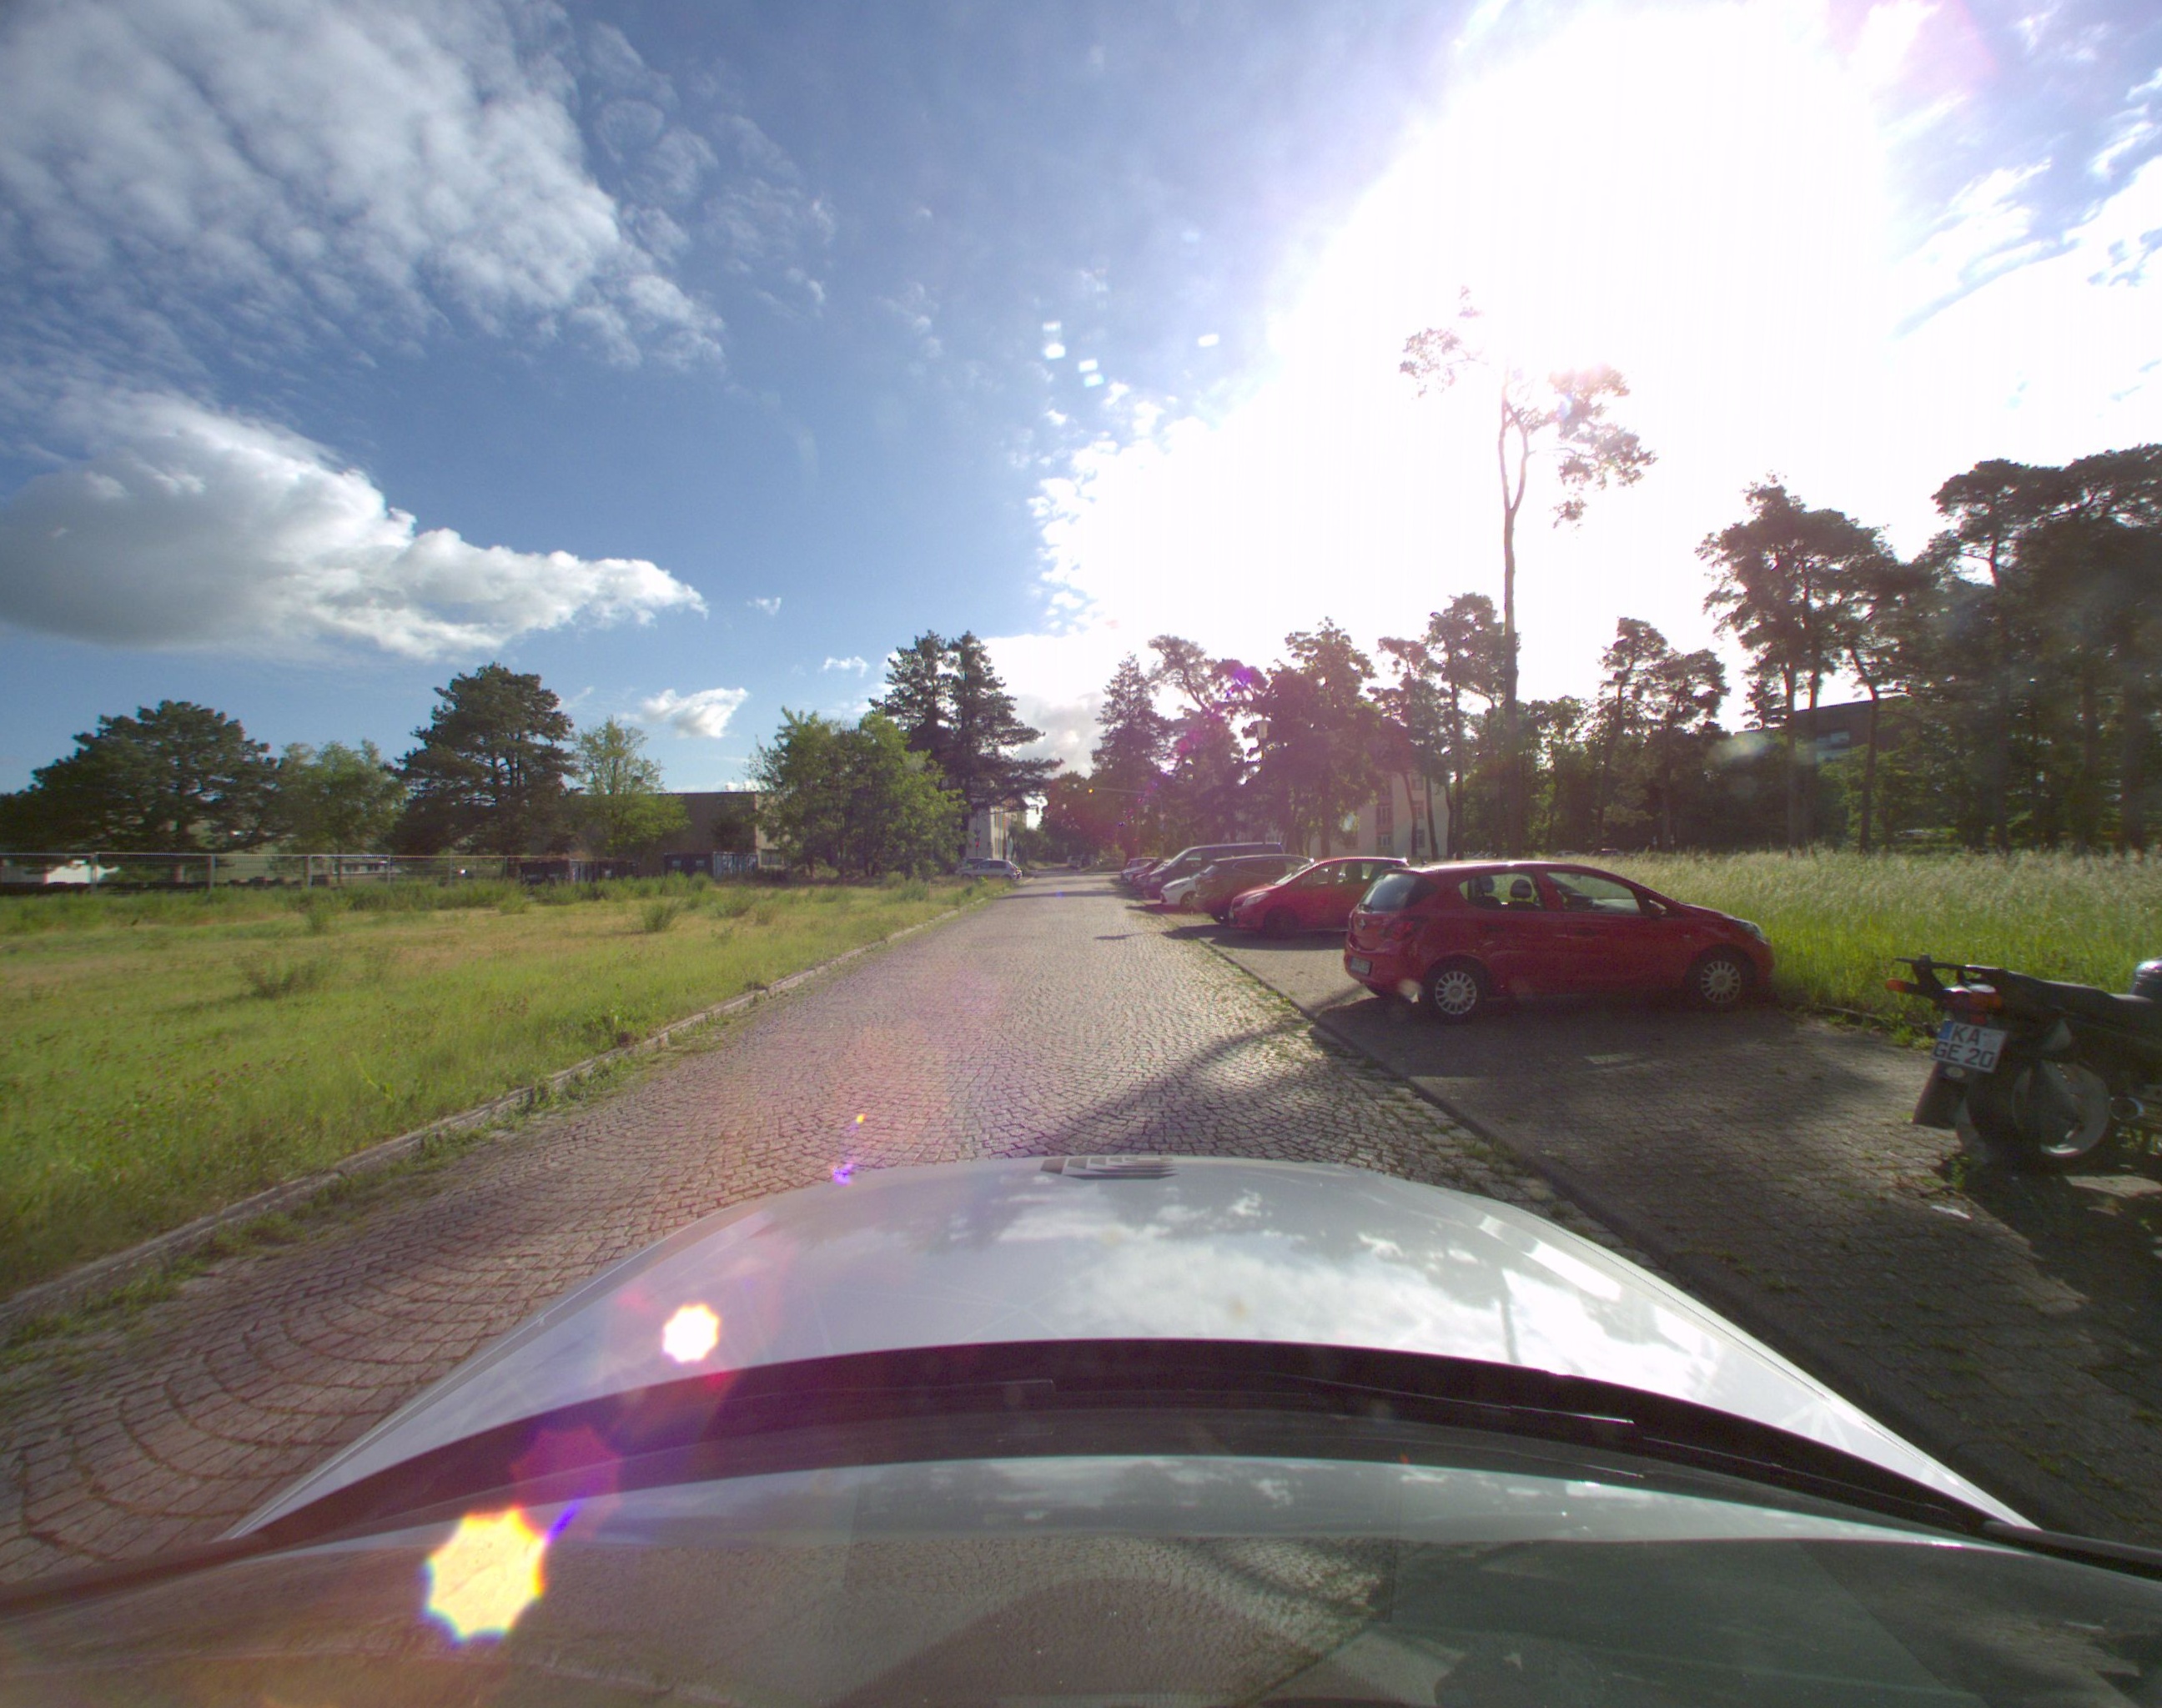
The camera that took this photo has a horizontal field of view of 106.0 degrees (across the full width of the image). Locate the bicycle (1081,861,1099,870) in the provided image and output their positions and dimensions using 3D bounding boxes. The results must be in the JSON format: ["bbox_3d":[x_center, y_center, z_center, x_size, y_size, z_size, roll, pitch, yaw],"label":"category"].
[{"bbox_3d":[1.121,1.364,100.188,2.173,1.100,0.804,0,0,-11],"label":"bicycle"}]

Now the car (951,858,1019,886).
[{"bbox_3d":[-5.873,1.104,50.318,3.978,1.600,1.998,-1,0,-4],"label":"car"}]

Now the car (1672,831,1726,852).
[{"bbox_3d":[62.362,-1.242,82.248,3.975,2.013,1.999,-1,0,-1],"label":"car"}]

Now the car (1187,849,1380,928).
[{"bbox_3d":[4.519,0.748,18.542,3.925,1.621,1.770,-1,0,-2],"label":"car"}]

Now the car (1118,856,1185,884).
[{"bbox_3d":[4.195,0.948,48.614,3.825,1.529,1.644,-1,0,-2],"label":"car"}]

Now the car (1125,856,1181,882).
[{"bbox_3d":[4.483,0.931,51.259,3.335,1.483,1.644,-1,0,-2],"label":"car"}]

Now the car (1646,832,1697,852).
[{"bbox_3d":[61.729,-1.238,85.179,3.975,2.013,1.999,-1,0,-1],"label":"car"}]

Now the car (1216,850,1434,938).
[{"bbox_3d":[4.654,0.736,15.866,3.752,1.530,1.644,-1,0,-2],"label":"car"}]

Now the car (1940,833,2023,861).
[{"bbox_3d":[67.183,-0.522,60.796,3.975,2.013,1.999,-1,0,-1],"label":"car"}]

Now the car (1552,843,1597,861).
[{"bbox_3d":[57.266,-0.232,94.536,3.975,2.013,1.999,-1,0,-1],"label":"car"}]

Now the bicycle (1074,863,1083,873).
[{"bbox_3d":[-0.350,1.645,96.616,0.803,1.169,2.175,-3,0,-6],"label":"bicycle"}]

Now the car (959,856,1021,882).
[{"bbox_3d":[-6.184,0.991,55.703,3.975,1.601,1.999,2,0,-1],"label":"car"}]

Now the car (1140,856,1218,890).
[{"bbox_3d":[4.623,0.874,38.621,3.469,1.529,1.644,-1,0,-2],"label":"car"}]

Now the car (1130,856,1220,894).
[{"bbox_3d":[4.072,0.902,35.693,3.665,1.467,1.644,-2,0,-2],"label":"car"}]

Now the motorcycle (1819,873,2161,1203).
[{"bbox_3d":[4.961,0.783,3.848,2.293,1.320,0.726,-2,0,-1],"label":"motorcycle"}]

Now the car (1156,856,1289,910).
[{"bbox_3d":[4.281,0.855,24.955,3.710,1.488,1.644,-2,0,-3],"label":"car"}]

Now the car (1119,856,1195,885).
[{"bbox_3d":[4.261,0.911,45.845,4.027,1.529,1.643,-1,0,-5],"label":"car"}]

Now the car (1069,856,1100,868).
[{"bbox_3d":[0.525,1.157,117.650,4.468,1.728,1.999,0,0,-1],"label":"car"}]

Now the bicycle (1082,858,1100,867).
[{"bbox_3d":[1.207,1.046,101.299,2.173,1.100,0.804,0,0,-11],"label":"bicycle"}]

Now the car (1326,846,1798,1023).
[{"bbox_3d":[4.665,0.731,8.277,3.816,1.478,1.644,-2,0,-2],"label":"car"}]

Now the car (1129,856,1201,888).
[{"bbox_3d":[4.228,0.891,41.305,3.469,1.529,1.644,-1,0,-2],"label":"car"}]

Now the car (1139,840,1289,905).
[{"bbox_3d":[4.429,0.610,27.638,4.667,2.013,2.081,-1,0,-4],"label":"car"}]

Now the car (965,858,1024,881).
[{"bbox_3d":[-6.124,1.102,58.103,3.975,1.453,1.999,2,0,-1],"label":"car"}]

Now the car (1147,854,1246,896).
[{"bbox_3d":[4.602,0.831,32.815,3.682,1.466,1.645,-3,0,0],"label":"car"}]
